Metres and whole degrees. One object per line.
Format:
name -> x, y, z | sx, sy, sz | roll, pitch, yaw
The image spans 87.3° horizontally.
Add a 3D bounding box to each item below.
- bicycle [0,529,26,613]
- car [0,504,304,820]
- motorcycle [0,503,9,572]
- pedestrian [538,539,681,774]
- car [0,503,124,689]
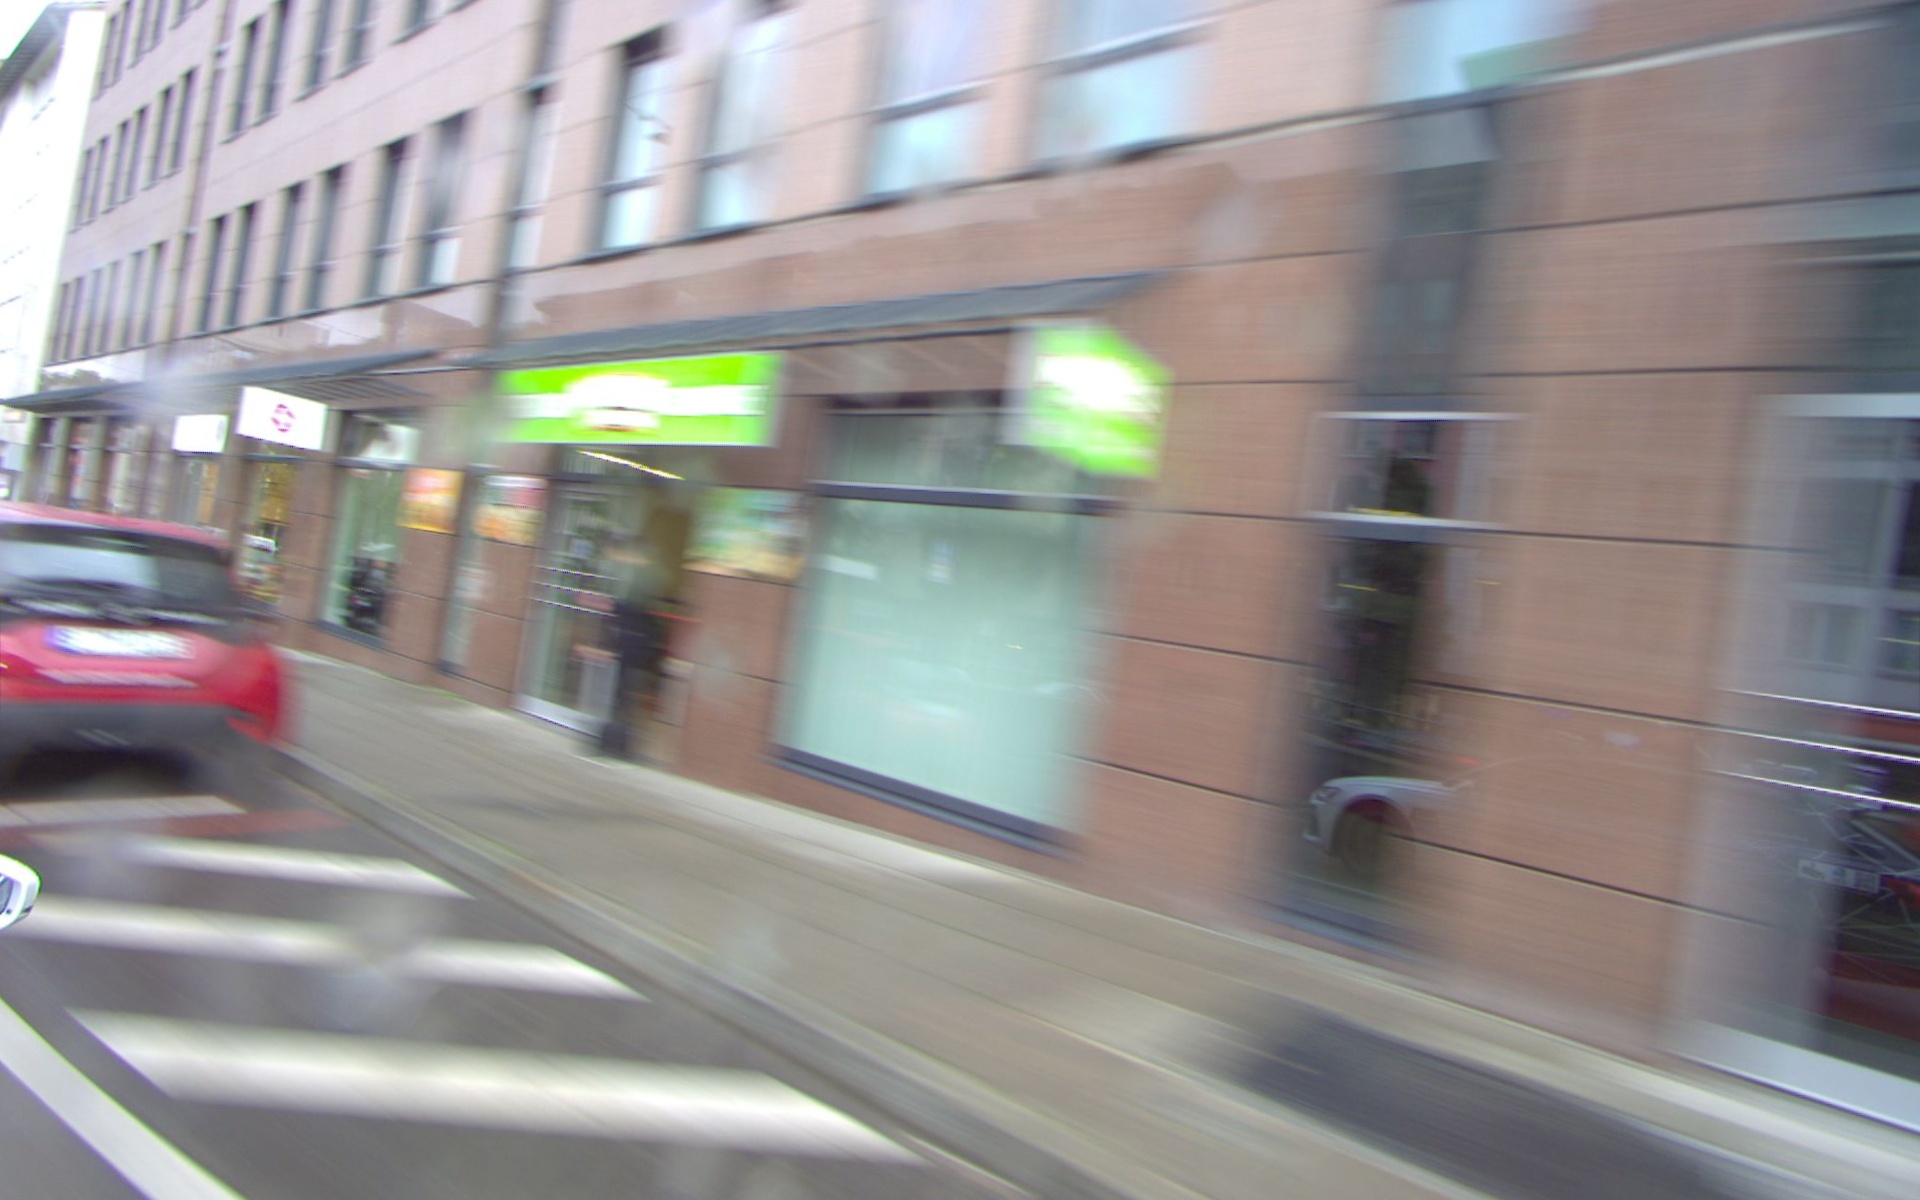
bicycle -> -12.875, -0.470, 12.450 | 0.455, 1.042, 1.787 | 7, -2, 38
car -> -5.770, 0.186, 6.294 | 3.812, 1.497, 1.697 | 6, -1, 41
motorcycle -> -15.053, -0.860, 14.242 | 2.071, 1.423, 0.792 | 9, -2, -33
pedestrian -> -2.677, 0.428, 7.693 | 0.616, 1.678, 0.601 | 7, -1, 39
car -> -9.294, -0.196, 9.263 | 3.811, 1.480, 1.697 | 6, -1, 40
